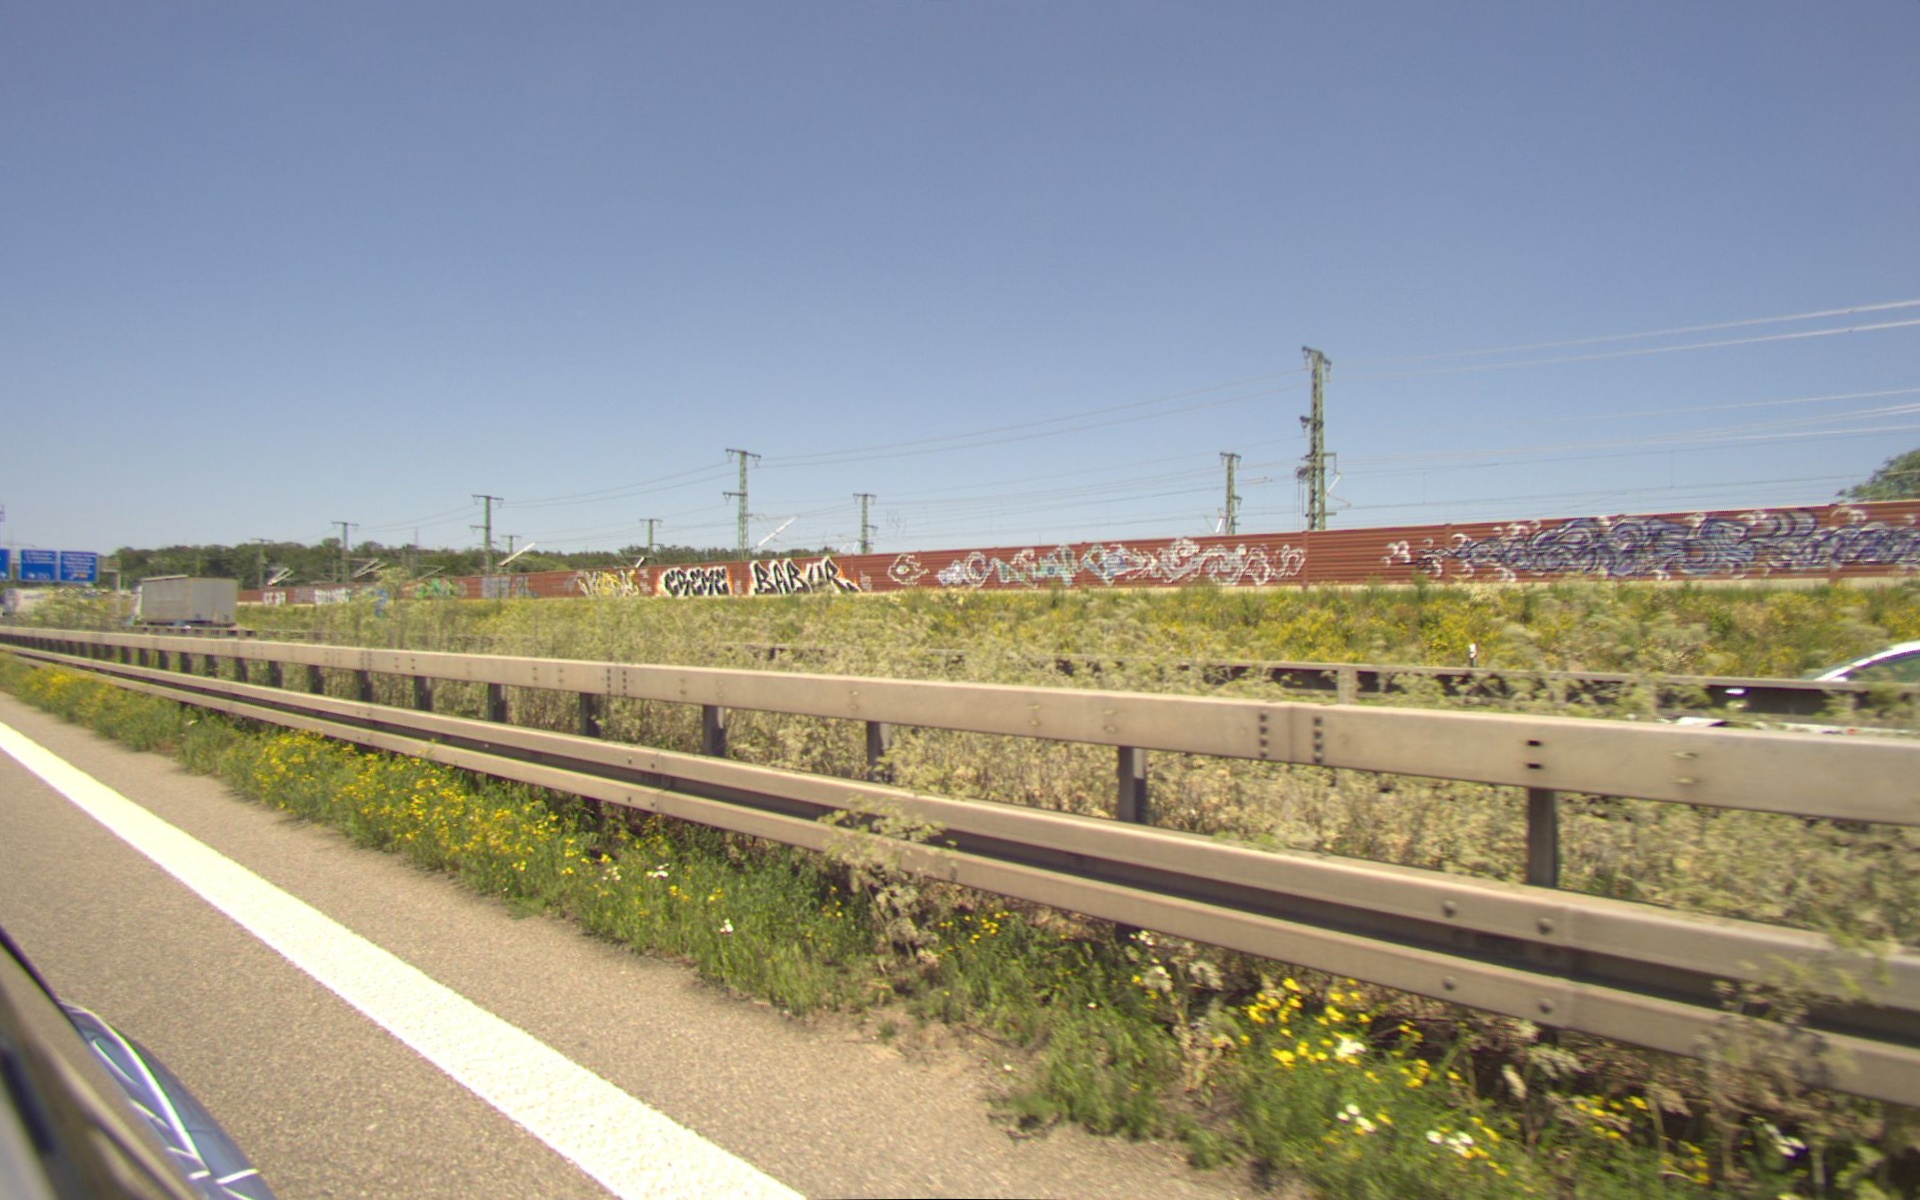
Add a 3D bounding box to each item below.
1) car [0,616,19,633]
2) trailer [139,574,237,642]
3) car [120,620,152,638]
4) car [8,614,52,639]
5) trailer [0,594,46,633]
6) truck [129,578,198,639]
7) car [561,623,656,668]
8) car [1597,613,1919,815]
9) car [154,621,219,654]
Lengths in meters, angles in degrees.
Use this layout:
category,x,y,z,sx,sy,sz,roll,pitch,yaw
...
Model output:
category,x,y,z,sx,sy,sz,roll,pitch,yaw
car,-96.666,2.468,102.346,4.361,1.659,1.797,-1,-1,42
trailer,-50.581,0.583,66.113,13.527,4.105,2.700,-1,-2,43
car,-75.741,2.643,93.022,3.835,1.531,1.735,-1,-1,42
car,-56.277,1.576,61.228,3.812,1.490,1.628,-1,-1,42
trailer,-109.069,1.597,117.604,12.087,4.441,2.857,-1,-2,42
truck,-55.998,0.650,71.086,6.379,4.103,2.701,-1,-2,42
car,-13.064,1.631,37.504,3.808,1.556,1.702,-1,-1,42
car,8.286,0.890,8.422,4.807,1.556,1.893,-1,-1,42
car,-36.986,1.768,48.352,3.841,1.490,1.797,-1,-1,42
